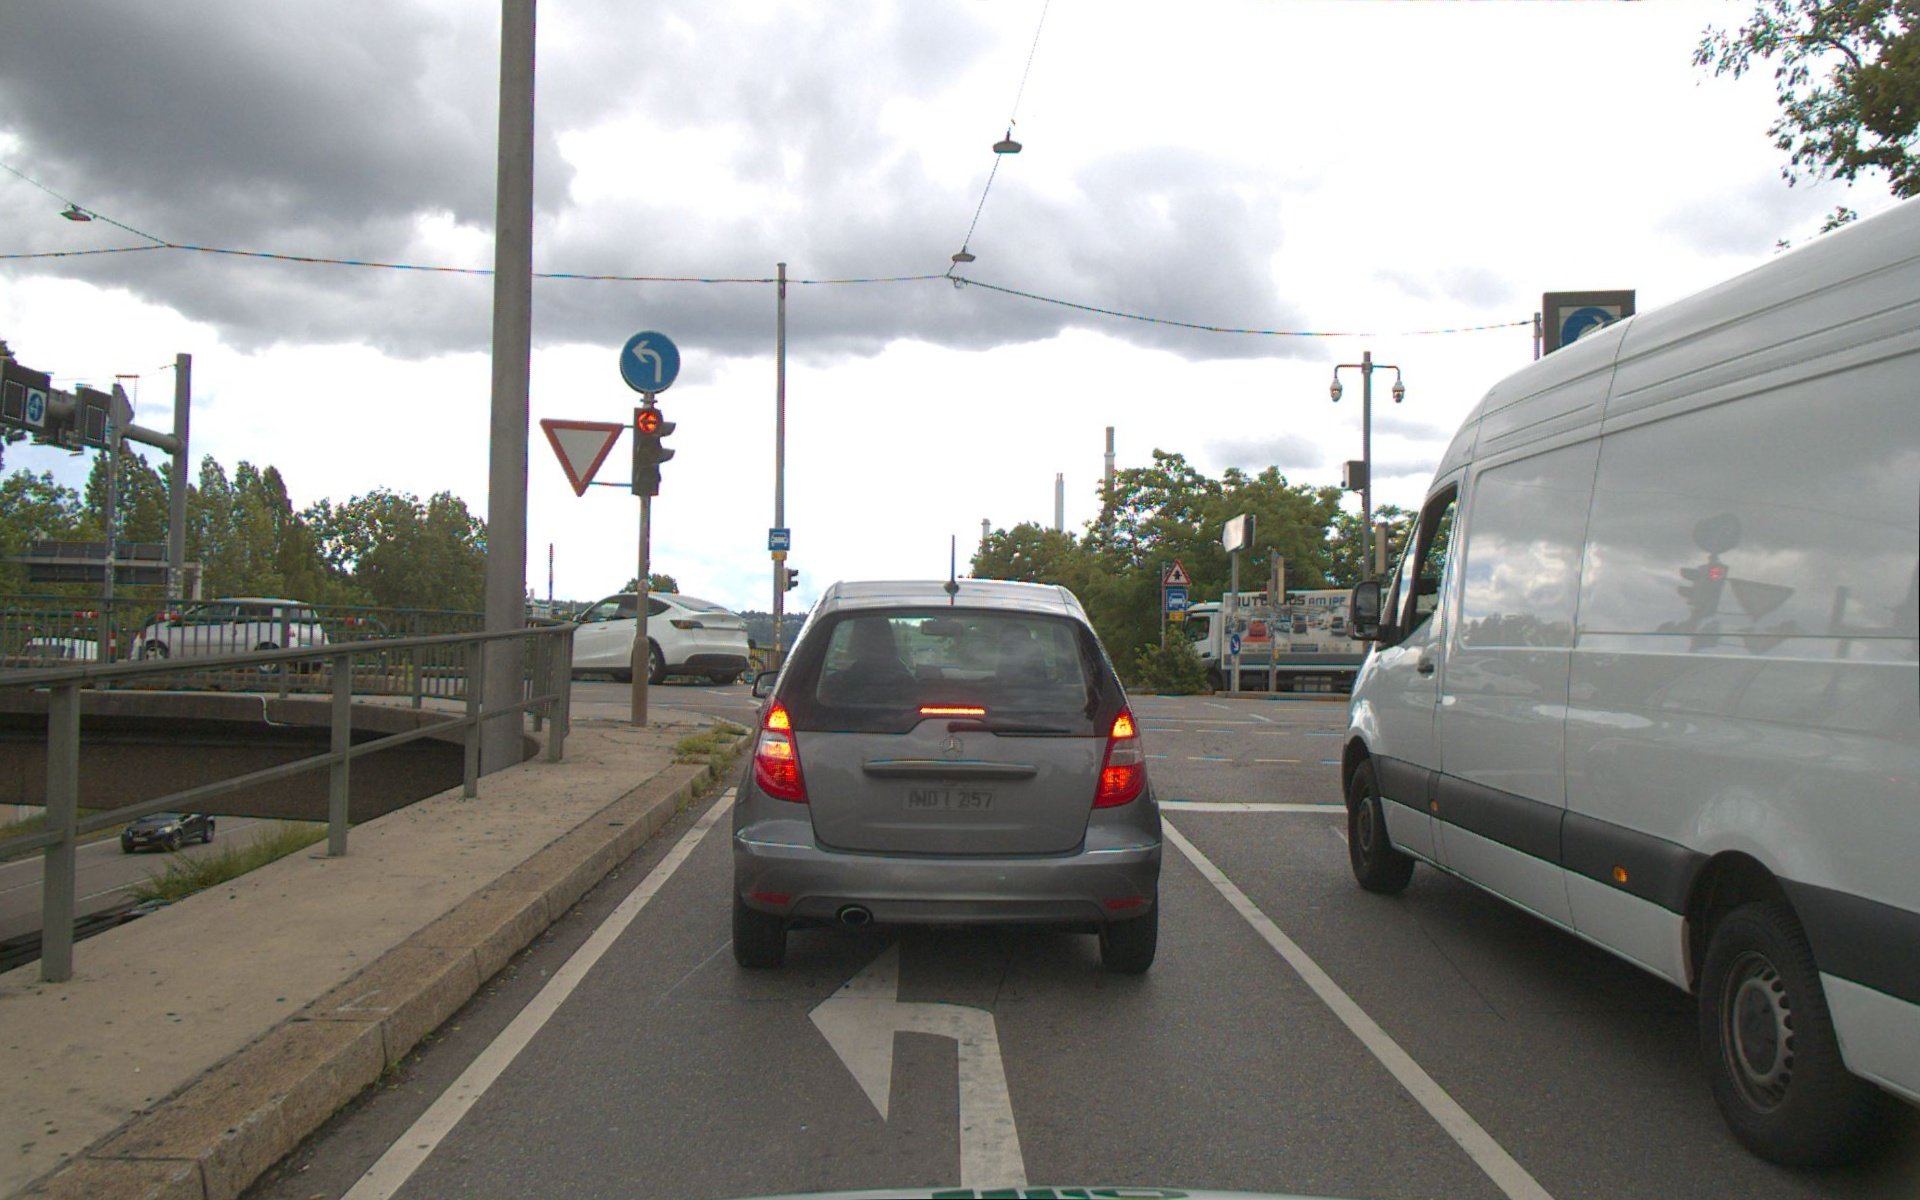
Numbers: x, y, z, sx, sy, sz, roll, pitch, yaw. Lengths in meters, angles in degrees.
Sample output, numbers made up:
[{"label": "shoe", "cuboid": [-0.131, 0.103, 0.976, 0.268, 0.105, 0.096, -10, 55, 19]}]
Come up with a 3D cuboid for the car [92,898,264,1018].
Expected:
[{"label": "car", "cuboid": [-16.381, 7.473, 34.877, 1.804, 1.743, 4.275, 0, -2, -4]}]

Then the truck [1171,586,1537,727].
[{"label": "truck", "cuboid": [10.973, 1.415, 47.113, 10.062, 3.580, 2.783, 1, 1, 41]}]

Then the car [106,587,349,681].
[{"label": "car", "cuboid": [-14.299, 0.624, 32.391, 3.902, 1.747, 1.939, 0, 0, 8]}]

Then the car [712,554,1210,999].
[{"label": "car", "cuboid": [0.046, 0.617, 8.070, 1.819, 1.616, 4.001, 0, 1, 1]}]

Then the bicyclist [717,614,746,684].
[{"label": "bicyclist", "cuboid": [-5.701, 1.204, 41.249, 0.641, 1.703, 0.867, 0, 0, -11]}]

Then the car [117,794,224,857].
[{"label": "car", "cuboid": [-29.112, 8.303, 61.157, 1.892, 1.874, 4.408, 0, -2, -1]}]

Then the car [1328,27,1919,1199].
[{"label": "car", "cuboid": [3.229, 0.067, 6.303, 2.067, 2.832, 6.779, 0, 1, -1]}]

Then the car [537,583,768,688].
[{"label": "car", "cuboid": [-5.637, 0.580, 30.063, 4.327, 1.747, 1.926, 1, 1, 42]}]

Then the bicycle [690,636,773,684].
[{"label": "bicycle", "cuboid": [-5.714, 1.495, 41.236, 1.996, 1.144, 0.927, 0, 0, -12]}]

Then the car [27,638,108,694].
[{"label": "car", "cuboid": [-39.085, 2.866, 72.503, 1.819, 2.254, 3.659, 0, 0, -5]}]
